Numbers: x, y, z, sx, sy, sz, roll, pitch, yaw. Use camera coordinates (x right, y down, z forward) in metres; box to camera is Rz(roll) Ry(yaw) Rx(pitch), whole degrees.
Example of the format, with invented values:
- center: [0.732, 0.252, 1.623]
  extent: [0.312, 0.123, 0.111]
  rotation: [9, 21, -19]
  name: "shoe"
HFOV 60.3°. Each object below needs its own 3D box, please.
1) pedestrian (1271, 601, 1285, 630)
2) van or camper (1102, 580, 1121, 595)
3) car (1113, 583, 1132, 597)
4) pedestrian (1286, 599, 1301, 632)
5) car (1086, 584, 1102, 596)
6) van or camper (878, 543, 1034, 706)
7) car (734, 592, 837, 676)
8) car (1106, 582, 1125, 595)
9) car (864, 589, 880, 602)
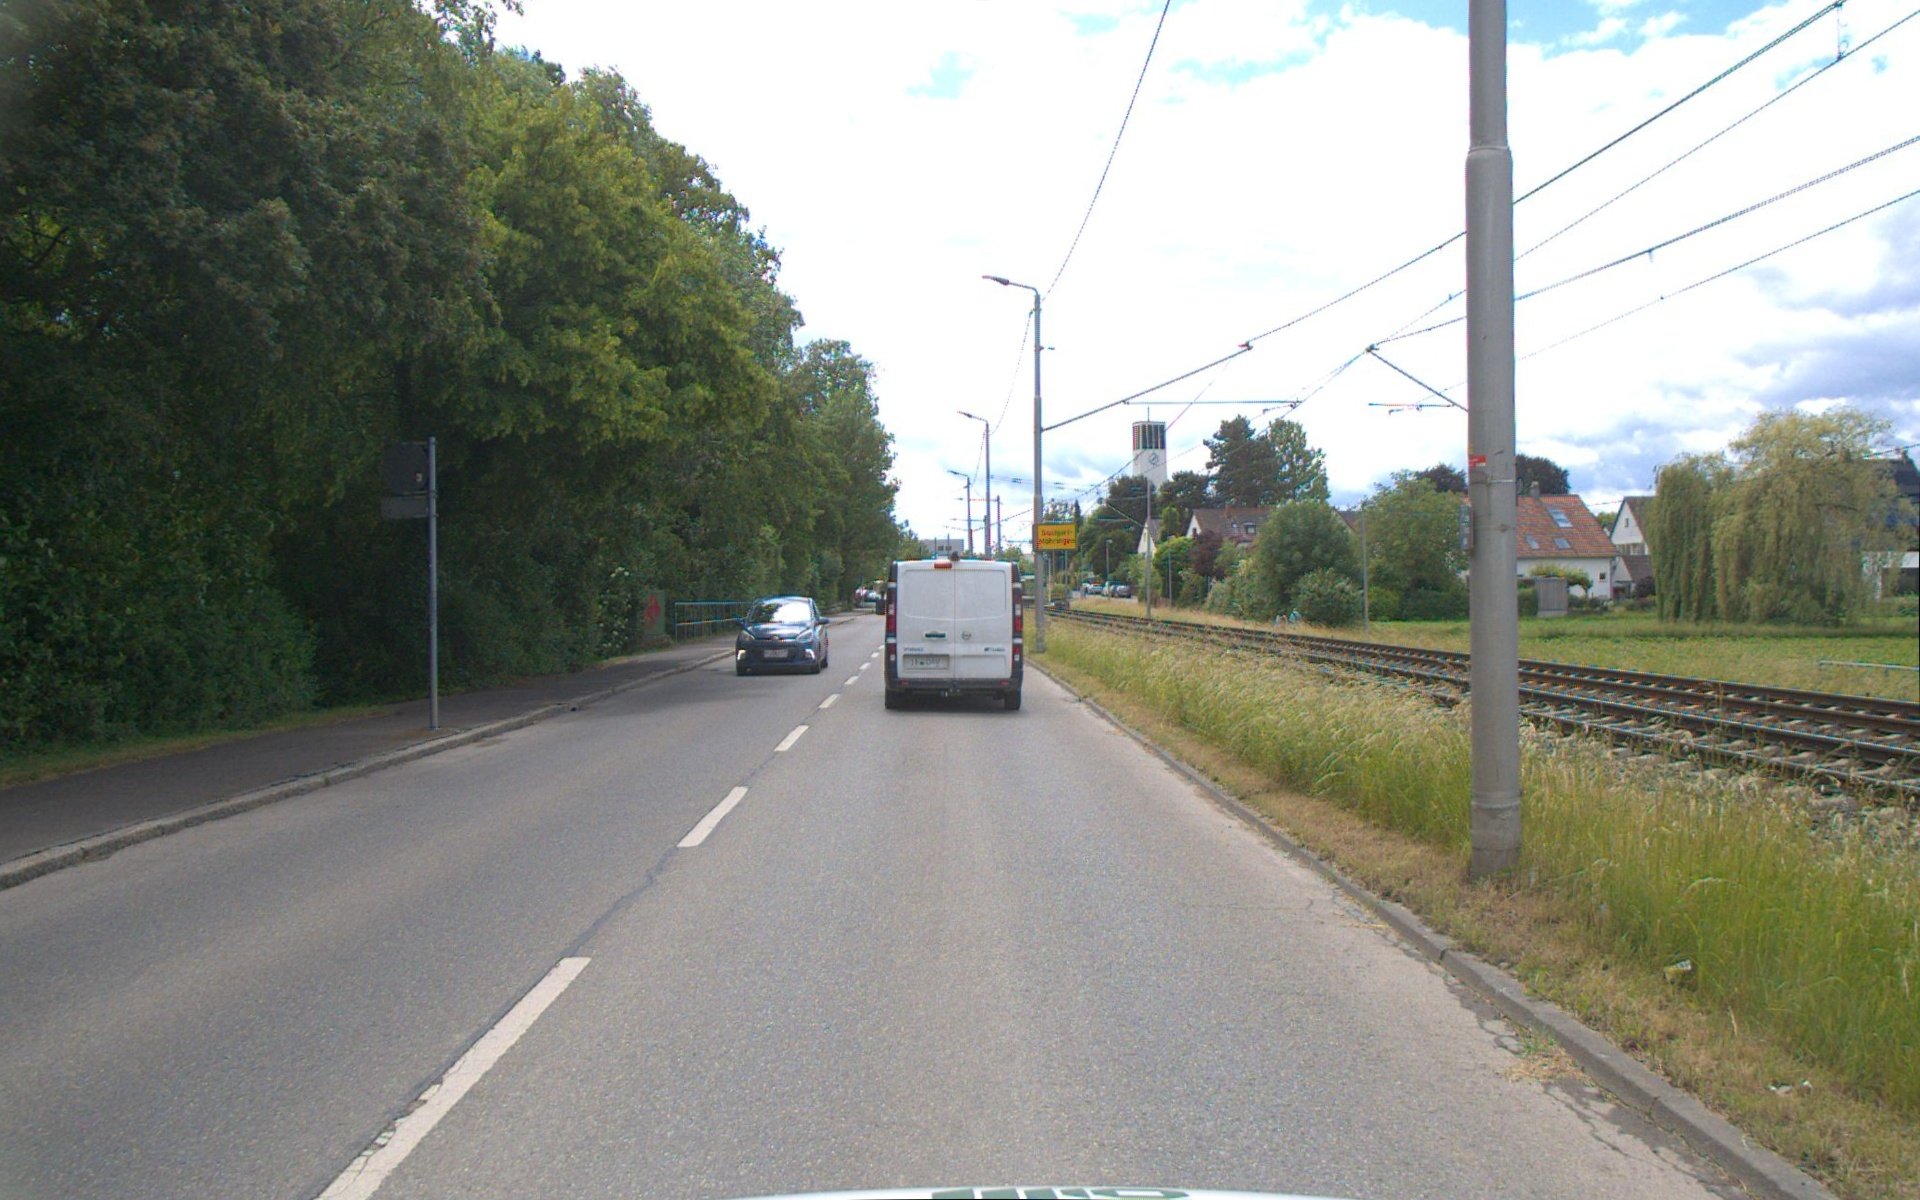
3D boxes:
- center: [16.248, 0.796, 84.473]
  extent: [0.585, 1.455, 0.666]
  rotation: [1, 0, 0]
  name: "pedestrian"
- center: [19.005, -1.594, 207.781]
  extent: [1.866, 1.857, 5.047]
  rotation: [-1, 0, 0]
  name: "van or camper"
- center: [19.319, -1.190, 196.959]
  extent: [1.845, 1.548, 4.000]
  rotation: [-1, 0, 0]
  name: "car"
- center: [17.029, 0.771, 84.433]
  extent: [0.604, 1.650, 0.584]
  rotation: [1, 0, -1]
  name: "pedestrian"
- center: [18.640, -1.412, 229.523]
  extent: [1.845, 1.548, 4.000]
  rotation: [-1, 0, 0]
  name: "car"
- center: [-0.078, 0.312, 23.147]
  extent: [1.953, 2.049, 4.445]
  rotation: [0, 0, -1]
  name: "van or camper"
- center: [-3.497, 0.654, 33.682]
  extent: [1.672, 1.555, 3.824]
  rotation: [-2, 0, -1]
  name: "car"
- center: [19.106, -1.398, 203.102]
  extent: [1.845, 1.548, 4.000]
  rotation: [-1, 0, 0]
  name: "car"
- center: [-11.647, -0.619, 218.597]
  extent: [1.704, 1.531, 4.470]
  rotation: [-3, 1, -7]
  name: "car"
